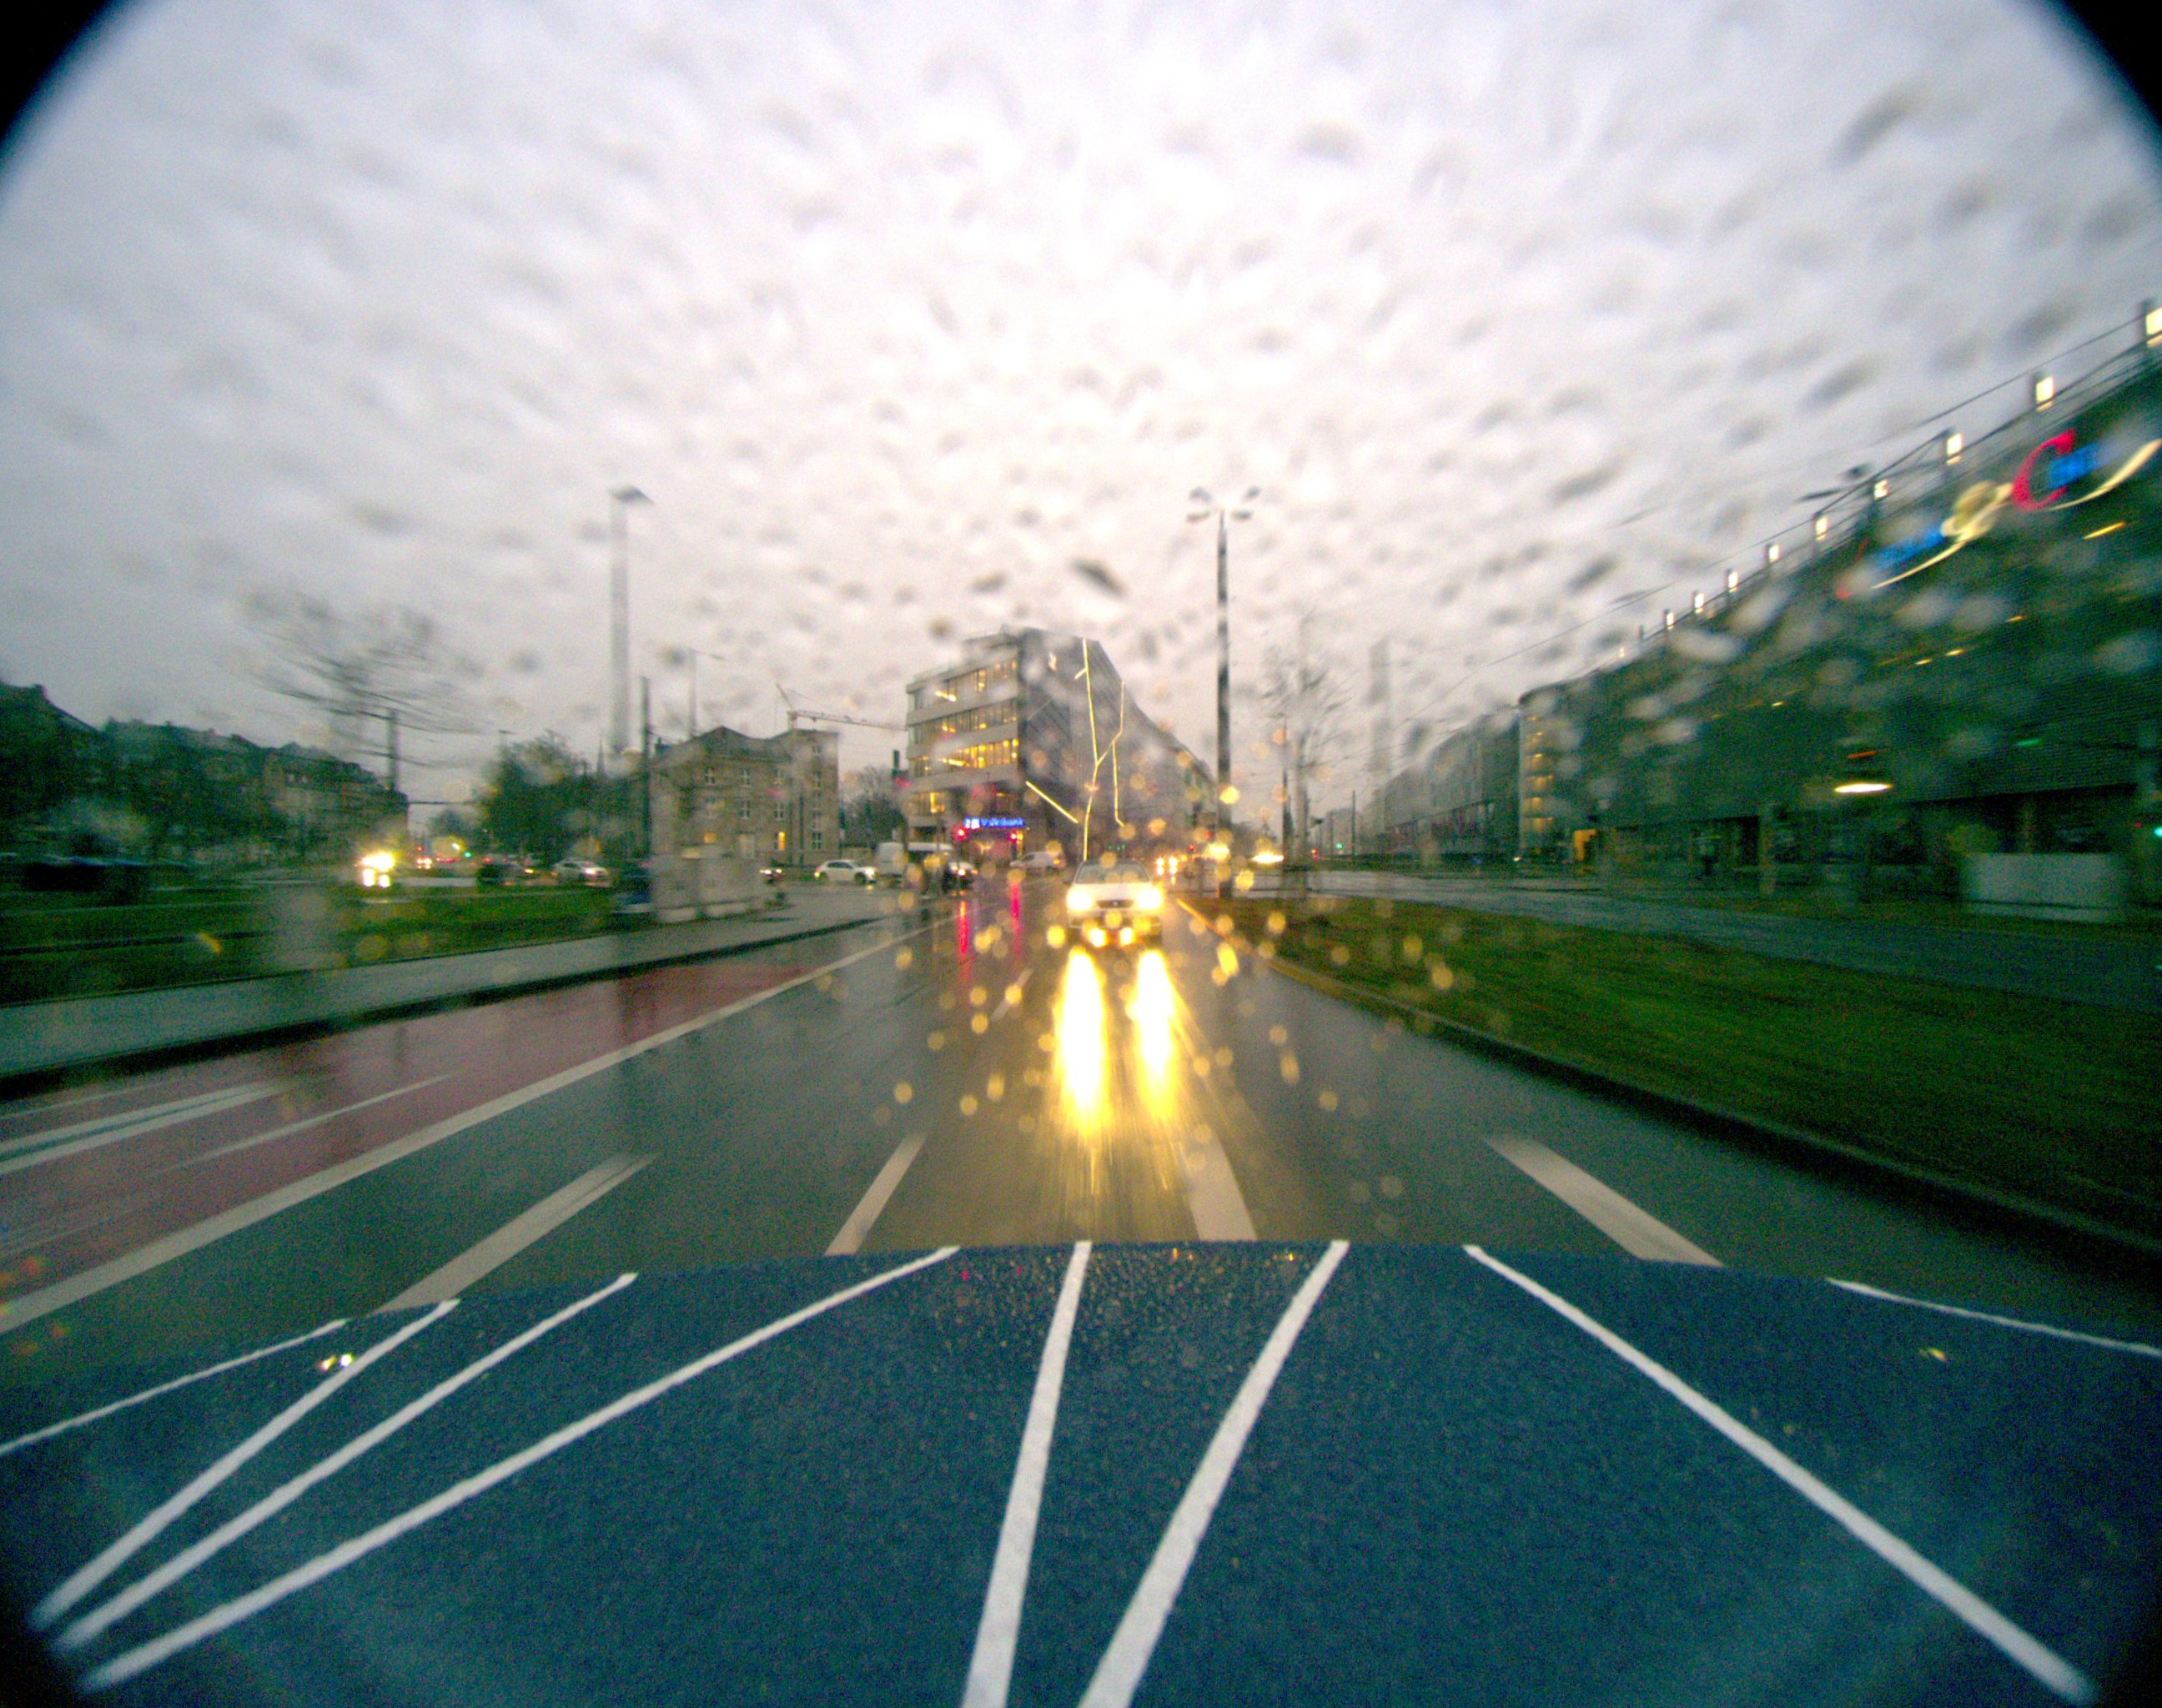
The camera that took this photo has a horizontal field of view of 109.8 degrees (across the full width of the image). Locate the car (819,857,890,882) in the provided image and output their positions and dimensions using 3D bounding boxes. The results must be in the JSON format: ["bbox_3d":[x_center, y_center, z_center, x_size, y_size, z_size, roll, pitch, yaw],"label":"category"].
[{"bbox_3d":[-14.281,0.957,48.006,3.911,1.455,1.765,0,2,11],"label":"car"}]

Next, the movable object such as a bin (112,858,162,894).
[{"bbox_3d":[-41.289,0.935,33.254,1.055,1.501,1.249,-1,1,-34],"label":"movable object such as a bin"}]

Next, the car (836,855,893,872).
[{"bbox_3d":[-18.063,0.789,63.429,4.414,1.436,1.631,0,0,18],"label":"car"}]

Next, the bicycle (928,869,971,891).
[{"bbox_3d":[-5.958,1.171,34.420,1.862,0.968,0.658,0,1,23],"label":"bicycle"}]

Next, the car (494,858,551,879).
[{"bbox_3d":[-41.314,1.051,56.177,4.159,1.466,1.881,0,1,30],"label":"car"}]

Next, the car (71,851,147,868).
[{"bbox_3d":[-82.465,0.447,64.520,1.614,1.362,3.619,0,0,19],"label":"car"}]

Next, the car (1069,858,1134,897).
[{"bbox_3d":[0.754,0.913,30.872,1.725,1.380,3.816,-1,1,-13],"label":"car"}]

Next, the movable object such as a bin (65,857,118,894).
[{"bbox_3d":[-42.359,0.907,32.559,1.055,1.566,1.137,-1,1,-34],"label":"movable object such as a bin"}]

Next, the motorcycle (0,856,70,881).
[{"bbox_3d":[-61.436,0.866,44.656,0.882,1.337,2.364,1,-2,35],"label":"motorcycle"}]

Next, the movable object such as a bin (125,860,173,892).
[{"bbox_3d":[-42.230,0.976,34.457,1.055,1.424,1.222,-1,1,-34],"label":"movable object such as a bin"}]

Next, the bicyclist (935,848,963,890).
[{"bbox_3d":[-6.001,0.691,34.534,0.987,1.879,0.794,0,1,23],"label":"bicyclist"}]

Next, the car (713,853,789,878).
[{"bbox_3d":[-21.592,0.754,49.771,4.353,1.561,1.829,0,1,15],"label":"car"}]

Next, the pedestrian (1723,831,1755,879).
[{"bbox_3d":[40.402,0.065,46.676,1.111,2.909,0.967,1,2,16],"label":"pedestrian"}]

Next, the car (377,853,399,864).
[{"bbox_3d":[-88.426,0.599,96.923,1.756,1.362,3.604,0,0,-38],"label":"car"}]

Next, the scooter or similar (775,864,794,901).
[{"bbox_3d":[-9.851,0.928,25.244,0.334,1.199,1.307,0,1,-11],"label":"scooter or similar"}]

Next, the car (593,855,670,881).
[{"bbox_3d":[-28.354,0.876,47.989,3.999,1.590,1.905,0,1,15],"label":"car"}]

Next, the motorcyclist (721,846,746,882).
[{"bbox_3d":[-18.304,0.494,39.991,0.919,1.871,0.888,0,1,44],"label":"motorcyclist"}]

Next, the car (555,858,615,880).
[{"bbox_3d":[-34.692,1.036,53.162,3.340,1.422,1.692,0,1,16],"label":"car"}]

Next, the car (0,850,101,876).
[{"bbox_3d":[-73.221,0.622,53.764,1.777,1.757,4.352,0,0,20],"label":"car"}]

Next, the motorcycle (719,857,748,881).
[{"bbox_3d":[-18.238,0.777,39.899,2.402,1.176,0.485,0,1,43],"label":"motorcycle"}]

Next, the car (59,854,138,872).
[{"bbox_3d":[-78.691,0.713,60.902,1.613,1.362,3.621,0,0,25],"label":"car"}]

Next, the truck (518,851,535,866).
[{"bbox_3d":[-75.490,0.591,103.405,1.842,2.032,3.989,-1,1,-37],"label":"truck"}]

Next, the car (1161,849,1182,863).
[{"bbox_3d":[10.587,0.203,88.908,1.830,1.652,4.005,0,0,16],"label":"car"}]

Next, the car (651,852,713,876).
[{"bbox_3d":[-35.574,0.872,67.748,5.646,2.047,1.957,0,1,26],"label":"car"}]

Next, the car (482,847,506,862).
[{"bbox_3d":[-74.579,0.053,96.533,1.909,1.861,4.948,-3,3,-44],"label":"car"}]

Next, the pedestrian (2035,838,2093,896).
[{"bbox_3d":[41.580,0.524,32.154,0.964,2.425,1.115,1,2,16],"label":"pedestrian"}]

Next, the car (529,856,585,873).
[{"bbox_3d":[-48.902,0.965,70.944,4.333,1.477,1.868,0,0,13],"label":"car"}]

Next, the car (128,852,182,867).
[{"bbox_3d":[-91.311,0.504,74.962,1.424,1.420,3.193,0,0,29],"label":"car"}]

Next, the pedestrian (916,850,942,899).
[{"bbox_3d":[-5.819,0.768,29.057,0.777,1.867,0.633,-1,1,-41],"label":"pedestrian"}]

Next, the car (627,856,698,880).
[{"bbox_3d":[-28.260,0.933,51.358,4.214,1.590,1.678,0,1,15],"label":"car"}]

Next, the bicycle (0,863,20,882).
[{"bbox_3d":[-59.172,1.003,41.410,0.537,1.012,1.904,1,-1,-19],"label":"bicycle"}]

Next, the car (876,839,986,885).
[{"bbox_3d":[-8.368,0.416,42.385,5.656,2.449,2.246,0,1,19],"label":"car"}]

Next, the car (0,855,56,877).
[{"bbox_3d":[-69.560,0.789,49.081,1.517,1.391,3.694,0,0,21],"label":"car"}]

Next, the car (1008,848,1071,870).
[{"bbox_3d":[-3.268,0.401,60.054,4.598,1.709,1.933,0,1,24],"label":"car"}]

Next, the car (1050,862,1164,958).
[{"bbox_3d":[0.632,0.917,14.193,1.787,1.371,4.224,-2,1,6],"label":"car"}]
